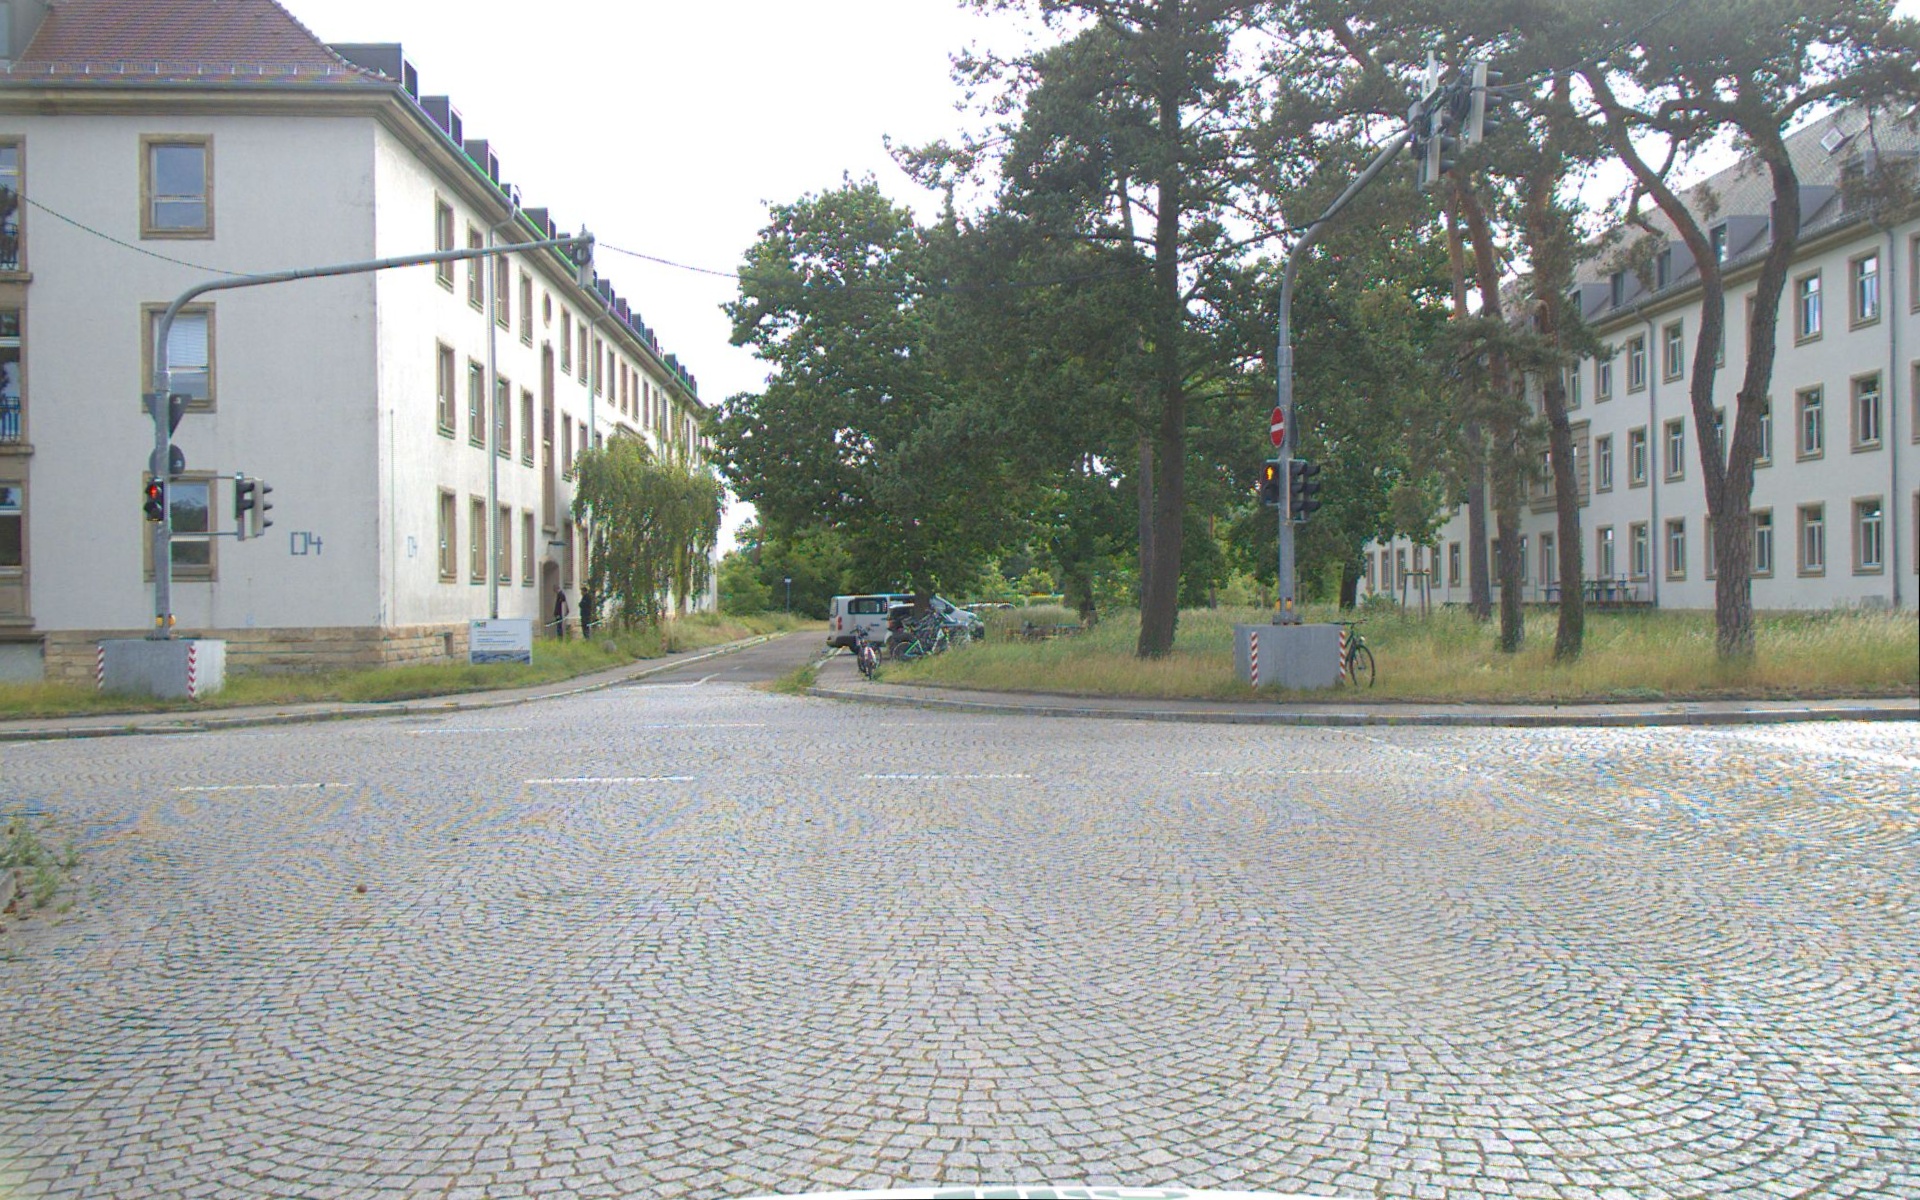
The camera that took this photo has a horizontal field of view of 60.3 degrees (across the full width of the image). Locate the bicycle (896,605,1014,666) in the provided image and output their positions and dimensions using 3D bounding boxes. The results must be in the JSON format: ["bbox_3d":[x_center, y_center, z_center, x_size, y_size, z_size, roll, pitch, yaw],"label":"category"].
[{"bbox_3d":[-0.128,0.836,39.329,2.747,1.396,0.950,-1,0,-3],"label":"bicycle"}]

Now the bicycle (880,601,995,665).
[{"bbox_3d":[-0.515,0.744,37.509,2.567,1.391,0.874,-1,0,-3],"label":"bicycle"}]

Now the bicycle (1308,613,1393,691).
[{"bbox_3d":[5.910,0.768,25.104,0.632,1.081,1.832,-4,0,-5],"label":"bicycle"}]

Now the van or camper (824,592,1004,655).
[{"bbox_3d":[-1.545,0.757,54.977,5.646,1.991,2.229,-1,0,-15],"label":"van or camper"}]

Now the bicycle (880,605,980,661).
[{"bbox_3d":[-0.778,0.839,42.530,2.517,1.396,0.950,-1,0,-4],"label":"bicycle"}]

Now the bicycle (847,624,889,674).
[{"bbox_3d":[-1.970,1.043,35.536,0.712,1.014,1.979,-1,0,2],"label":"bicycle"}]

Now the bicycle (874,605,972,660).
[{"bbox_3d":[-0.976,0.847,43.359,2.517,1.396,0.950,-1,0,-4],"label":"bicycle"}]

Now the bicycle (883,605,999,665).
[{"bbox_3d":[-0.472,0.839,39.846,2.747,1.396,0.950,-1,0,-3],"label":"bicycle"}]

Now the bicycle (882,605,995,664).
[{"bbox_3d":[-0.541,0.849,40.737,2.747,1.396,0.950,-1,0,-3],"label":"bicycle"}]

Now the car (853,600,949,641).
[{"bbox_3d":[-2.464,0.849,68.769,3.909,1.628,1.702,-1,0,-5],"label":"car"}]

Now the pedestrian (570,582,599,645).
[{"bbox_3d":[-11.929,0.433,52.530,0.850,1.966,0.834,1,-1,-14],"label":"pedestrian"}]

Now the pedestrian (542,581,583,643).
[{"bbox_3d":[-12.357,0.370,51.455,1.174,1.903,1.545,1,-1,-13],"label":"pedestrian"}]

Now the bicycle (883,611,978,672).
[{"bbox_3d":[-0.672,0.914,36.888,2.071,1.329,0.874,-1,0,-3],"label":"bicycle"}]

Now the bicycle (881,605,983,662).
[{"bbox_3d":[-0.727,0.830,41.692,2.517,1.396,0.950,-1,0,-4],"label":"bicycle"}]

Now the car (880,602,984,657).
[{"bbox_3d":[-0.888,0.903,51.492,3.161,1.649,1.936,1,-1,-4],"label":"car"}]

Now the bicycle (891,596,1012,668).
[{"bbox_3d":[-0.214,0.728,38.394,2.747,1.611,0.950,-1,0,-3],"label":"bicycle"}]

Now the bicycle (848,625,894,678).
[{"bbox_3d":[-1.804,1.019,33.451,0.882,1.014,1.977,-1,0,-3],"label":"bicycle"}]
